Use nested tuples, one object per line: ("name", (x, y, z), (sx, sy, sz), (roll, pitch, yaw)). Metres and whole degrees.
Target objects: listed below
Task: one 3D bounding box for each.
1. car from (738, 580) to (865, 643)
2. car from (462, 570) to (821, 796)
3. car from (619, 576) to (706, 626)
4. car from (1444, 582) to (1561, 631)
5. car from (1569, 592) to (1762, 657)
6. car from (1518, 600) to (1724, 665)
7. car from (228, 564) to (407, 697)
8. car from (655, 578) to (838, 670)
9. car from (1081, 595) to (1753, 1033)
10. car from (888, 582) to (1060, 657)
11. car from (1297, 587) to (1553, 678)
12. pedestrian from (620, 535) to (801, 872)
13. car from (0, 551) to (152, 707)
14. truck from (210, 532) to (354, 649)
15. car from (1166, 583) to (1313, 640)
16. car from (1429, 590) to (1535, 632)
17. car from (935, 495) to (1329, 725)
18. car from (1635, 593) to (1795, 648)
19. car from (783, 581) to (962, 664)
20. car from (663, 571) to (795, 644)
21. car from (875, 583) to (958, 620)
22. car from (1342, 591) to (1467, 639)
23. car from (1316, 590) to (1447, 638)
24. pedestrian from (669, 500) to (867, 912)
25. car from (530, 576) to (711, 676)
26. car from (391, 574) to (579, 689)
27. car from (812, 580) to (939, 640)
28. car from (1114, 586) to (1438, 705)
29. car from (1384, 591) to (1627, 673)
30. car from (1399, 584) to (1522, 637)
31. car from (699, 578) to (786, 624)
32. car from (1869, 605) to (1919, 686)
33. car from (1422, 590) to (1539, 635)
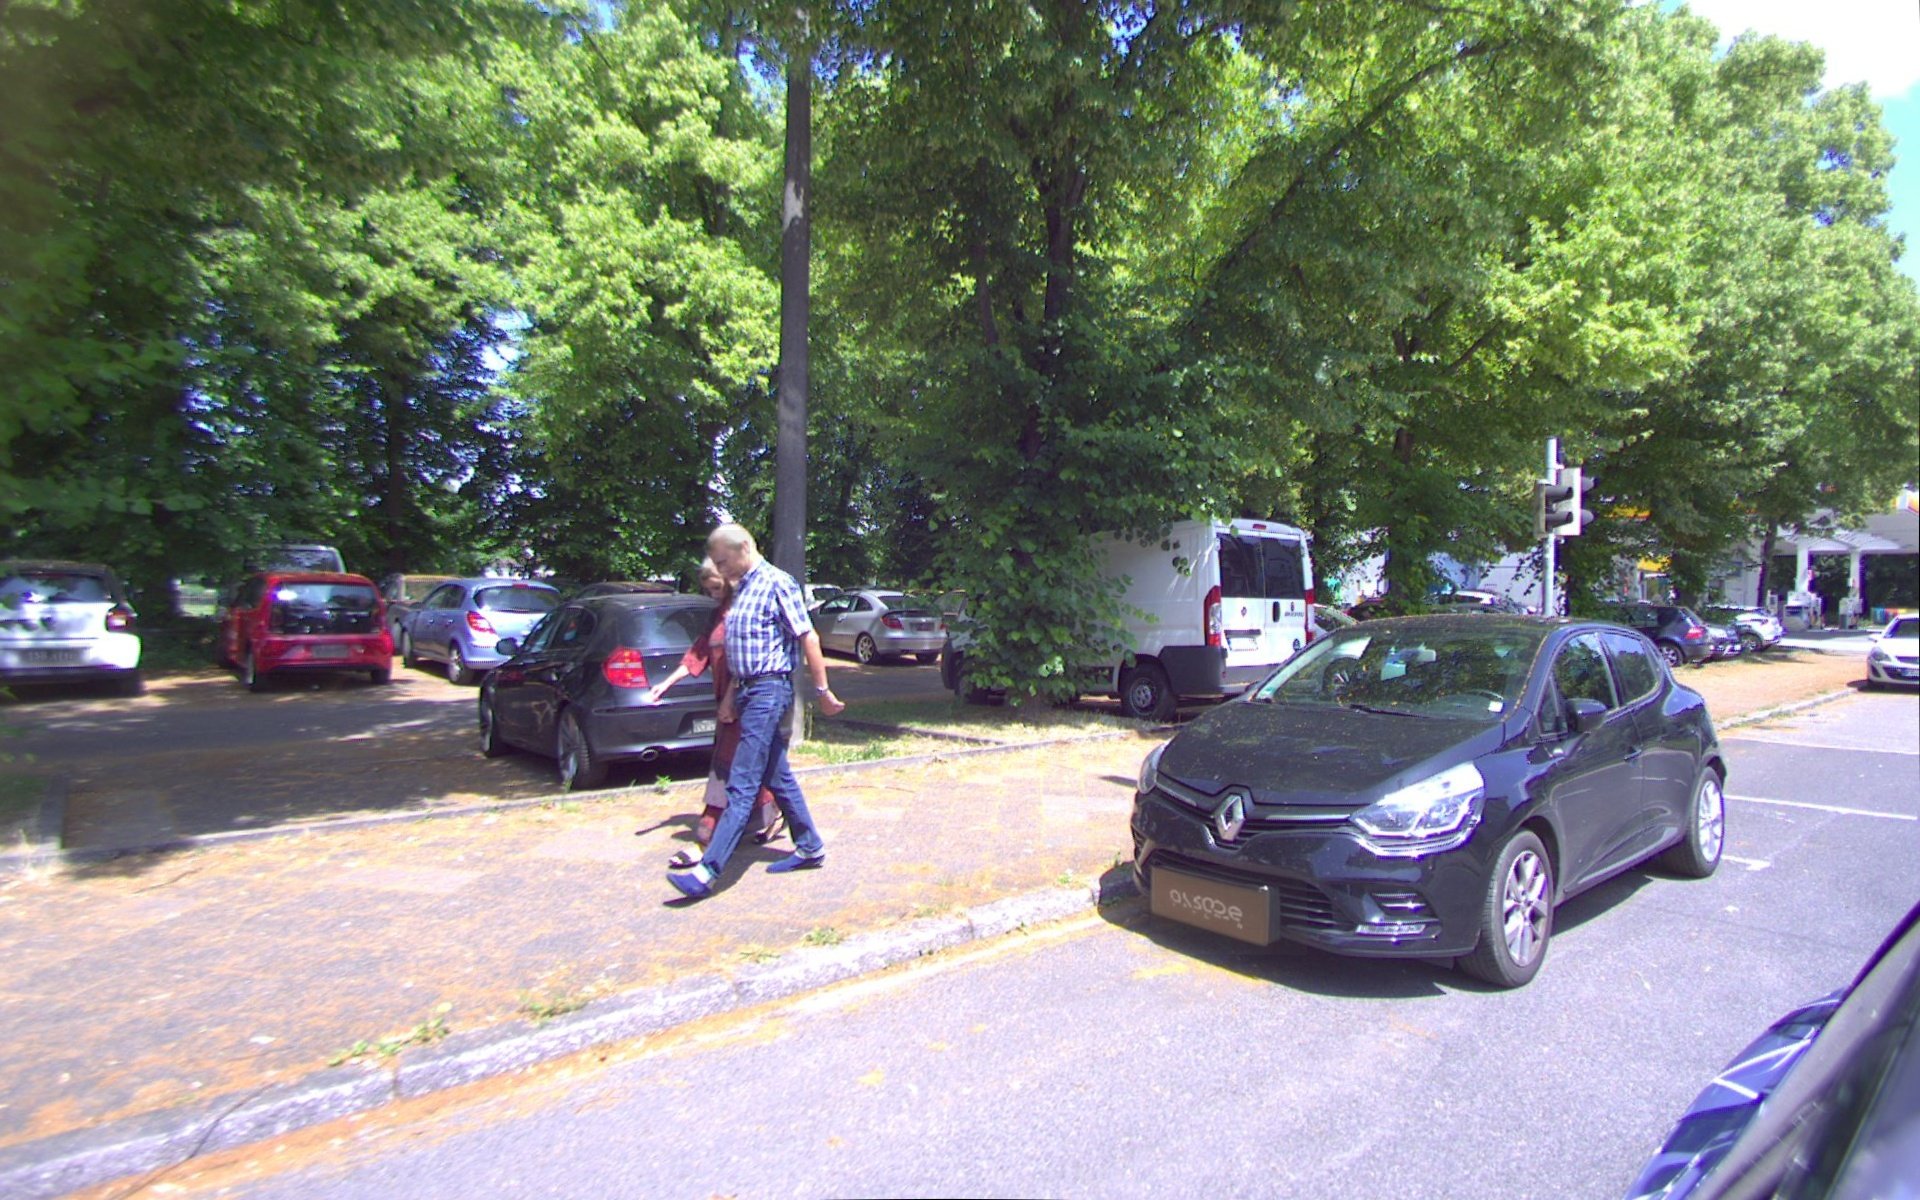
("car", (-4.247, 0.258, 26.734), (1.706, 1.483, 3.809), (1, 1, -37))
("car", (-2.954, 0.581, 8.787), (1.686, 1.492, 3.996), (0, -1, -38))
("car", (-10.294, 0.004, 34.914), (1.705, 1.587, 3.810), (1, 1, -36))
("car", (24.756, 0.265, 46.304), (1.824, 2.022, 4.367), (1, 1, -44))
("car", (18.014, 0.583, 26.014), (1.597, 1.555, 3.773), (0, 0, -29))
("car", (15.231, 0.698, 23.426), (3.833, 1.375, 1.605), (0, 0, 42))
("car", (-9.277, 0.317, 14.479), (1.771, 1.606, 3.998), (0, 1, -38))
("car", (-4.106, 0.366, 19.024), (1.771, 1.491, 3.998), (0, 1, -38))
("car", (2.593, 0.721, 5.277), (3.929, 1.446, 1.666), (1, 0, -40))
("car", (0.231, 0.374, 22.905), (1.771, 1.491, 3.998), (0, 1, -38))
("car", (8.627, 0.579, 19.041), (1.608, 1.513, 4.073), (0, -1, -41))
("pedestrian", (-1.312, 0.496, 5.324), (0.724, 1.613, 0.618), (1, -1, -41))
("car", (-11.319, 0.255, 12.705), (1.771, 1.682, 3.998), (0, 1, -38))
("truck", (-12.135, -0.190, 17.997), (1.844, 1.837, 4.132), (1, 1, -38))
("car", (8.388, 0.296, 30.575), (1.709, 1.541, 3.948), (1, 1, -44))
("car", (22.926, 0.456, 44.537), (1.709, 1.637, 3.801), (1, 1, -44))
("car", (1.919, 0.150, 12.591), (2.068, 2.305, 4.611), (1, -2, -39))
("car", (23.570, 0.607, 31.670), (1.823, 1.546, 3.756), (1, 1, -43))
("car", (-1.900, 0.384, 20.935), (1.771, 1.491, 3.998), (0, 1, -38))
("car", (-5.713, 0.136, 24.701), (1.706, 1.608, 3.809), (1, 1, -37))
("car", (-1.840, 0.026, 41.827), (1.704, 1.429, 3.812), (1, 1, -34))
("car", (16.171, 0.495, 36.913), (1.709, 1.603, 3.800), (1, 1, -44))
("car", (14.536, 0.458, 35.037), (1.709, 1.483, 3.801), (1, 1, -44))
("pedestrian", (-0.923, 0.458, 4.864), (0.724, 1.787, 0.618), (1, -1, -41))
("car", (-6.047, 0.364, 17.760), (1.771, 1.491, 3.998), (0, 1, -38))
("car", (-7.434, 0.385, 15.635), (1.771, 1.491, 3.998), (0, 1, -38))
("car", (-2.407, 0.233, 28.018), (1.706, 1.511, 3.808), (1, 1, -37))
("car", (4.540, 0.623, 15.097), (1.777, 1.513, 4.331), (1, -2, -41))
("car", (11.028, 0.588, 20.685), (1.608, 1.513, 4.074), (0, 0, -41))
("car", (19.149, 0.366, 38.788), (1.901, 1.874, 3.801), (1, 1, -44))
("car", (-7.953, 0.003, 36.752), (1.705, 1.587, 3.810), (1, 1, -36))
("car", (18.863, 0.827, 19.256), (4.037, 1.461, 1.720), (1, -1, -39))
("car", (20.710, 0.456, 40.354), (1.709, 1.637, 3.801), (1, 1, -44))
